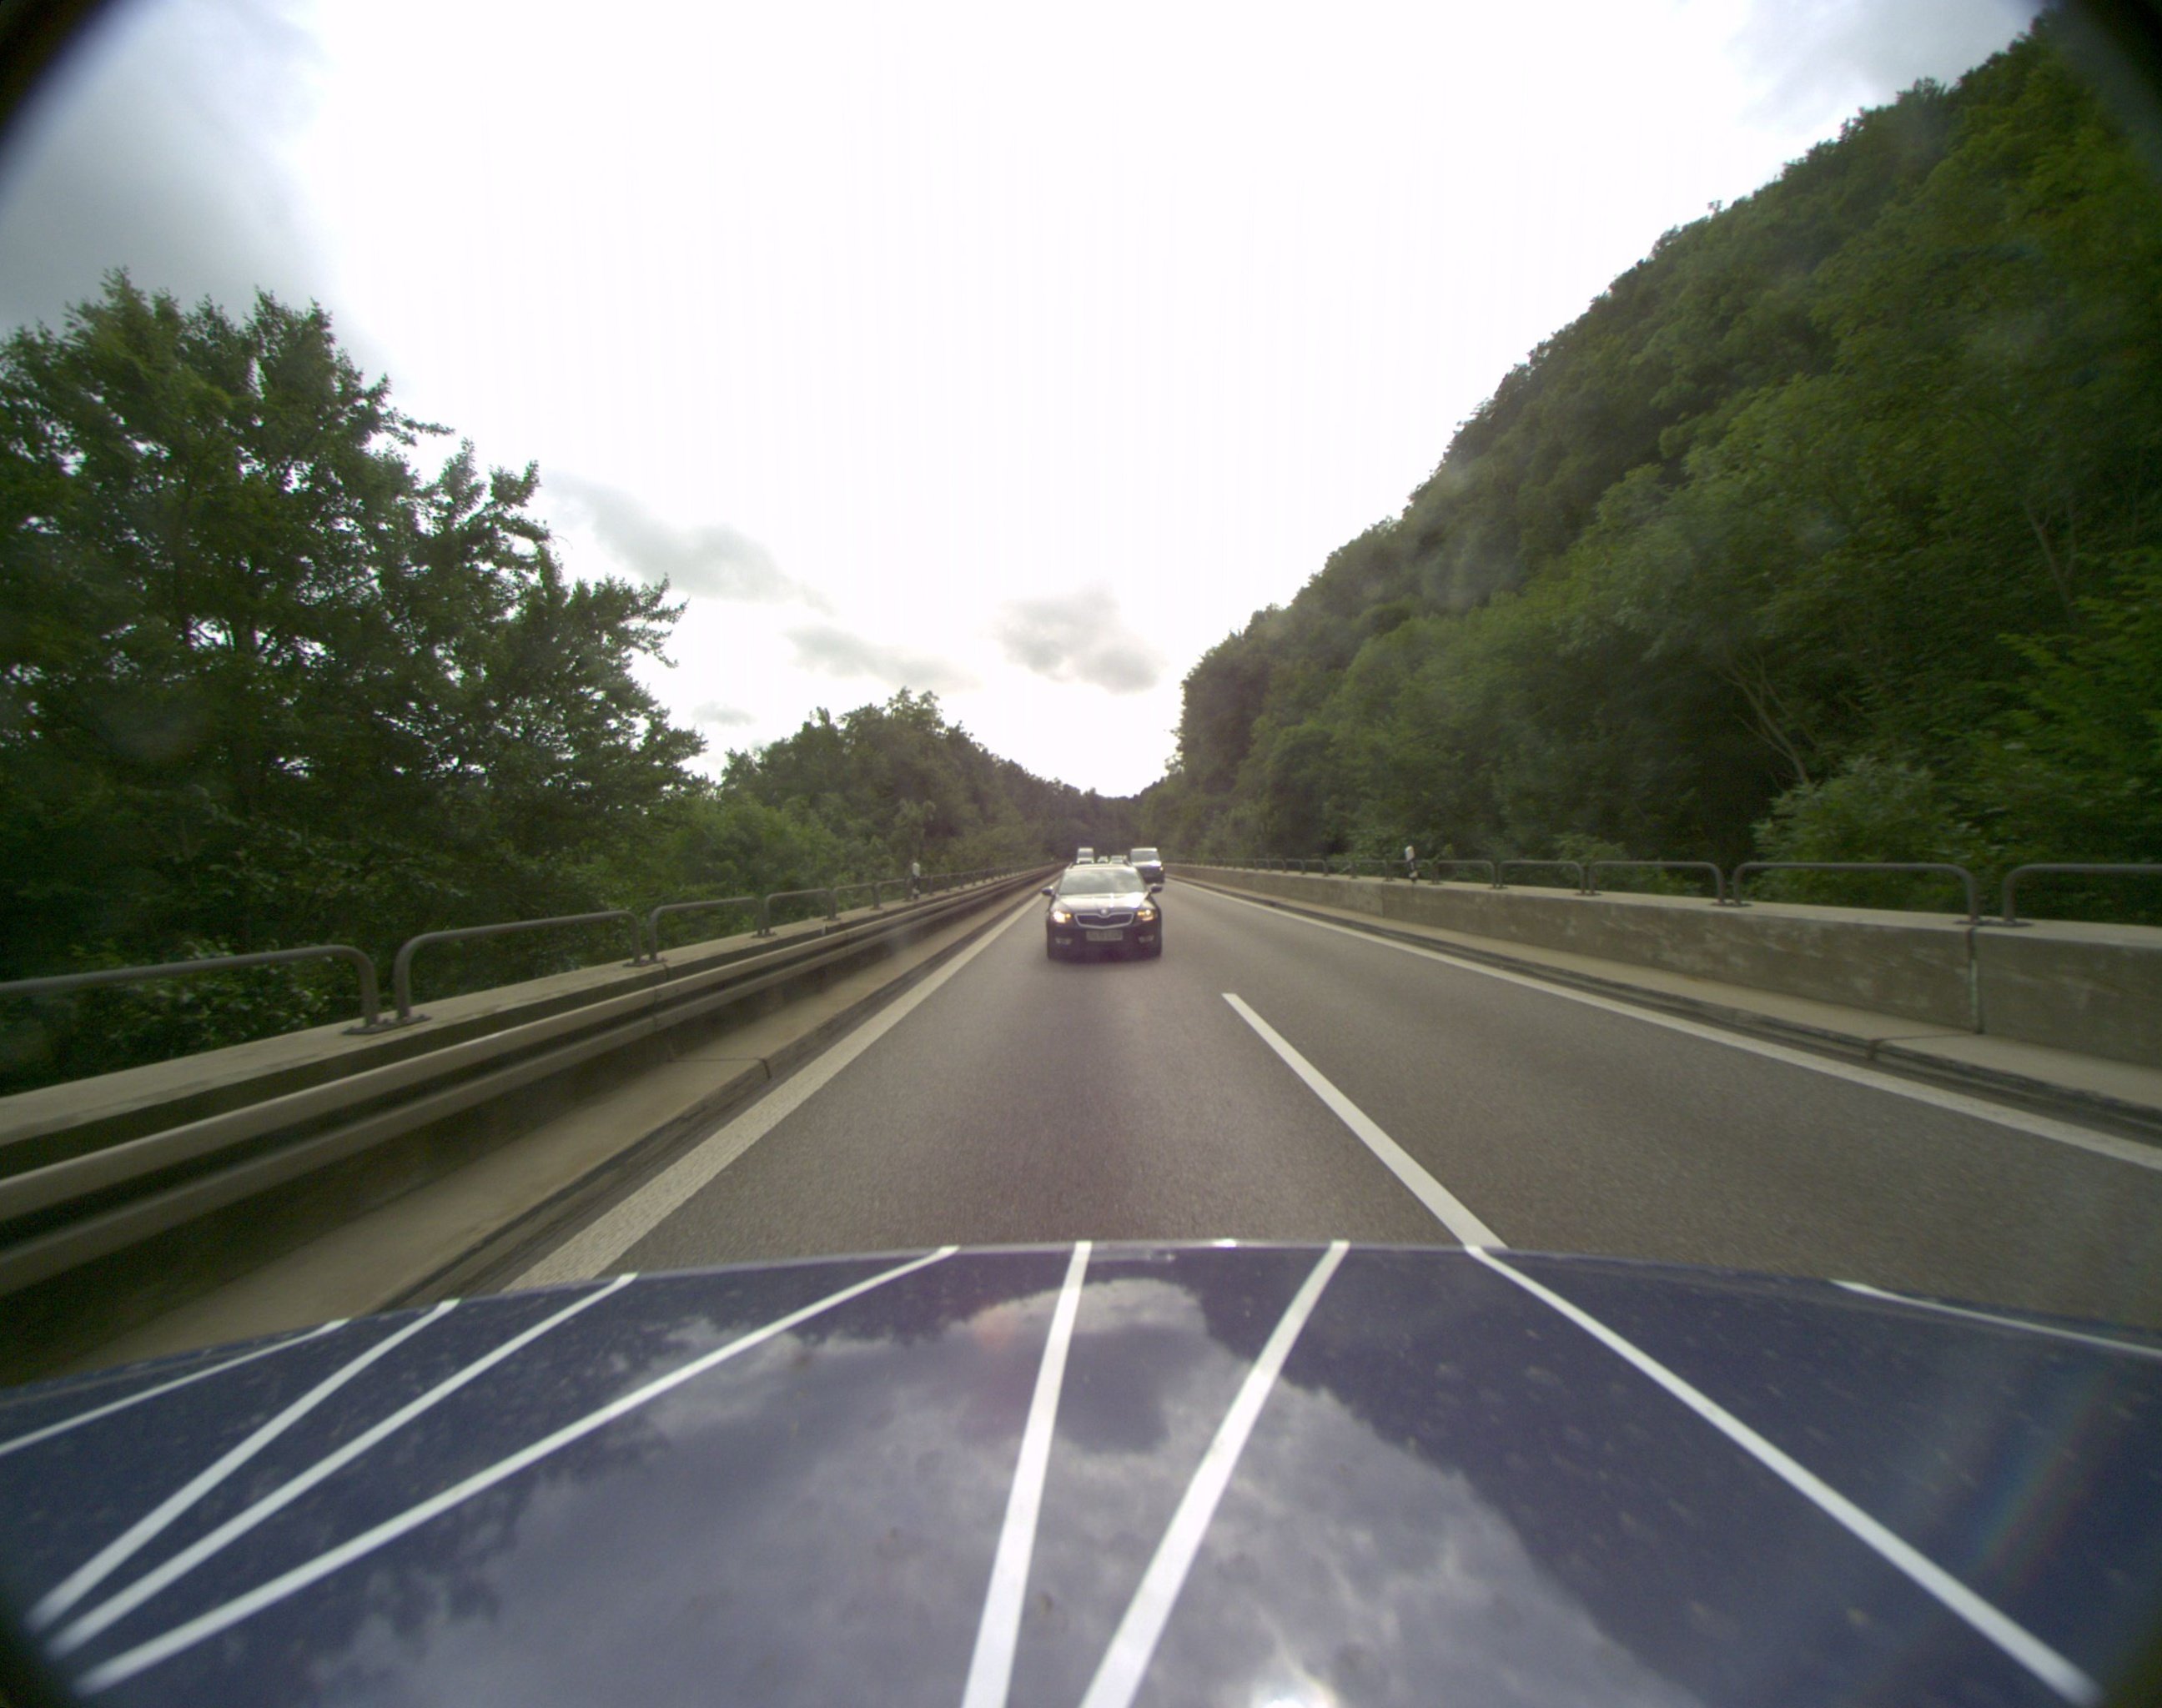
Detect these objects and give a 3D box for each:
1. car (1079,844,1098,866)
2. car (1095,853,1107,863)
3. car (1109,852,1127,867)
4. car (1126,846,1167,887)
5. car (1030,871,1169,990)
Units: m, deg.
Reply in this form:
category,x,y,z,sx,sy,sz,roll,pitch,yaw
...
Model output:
category,x,y,z,sx,sy,sz,roll,pitch,yaw
car,0.916,0.168,90.278,2.098,2.547,5.921,1,-1,2
car,3.492,0.659,129.806,1.998,1.608,4.000,-1,0,2
car,4.335,0.603,88.336,1.975,1.584,5.585,-1,1,3
car,3.649,0.645,43.221,1.998,2.002,5.541,-4,0,3
car,0.239,0.972,11.433,1.638,1.384,4.499,-2,-1,0
